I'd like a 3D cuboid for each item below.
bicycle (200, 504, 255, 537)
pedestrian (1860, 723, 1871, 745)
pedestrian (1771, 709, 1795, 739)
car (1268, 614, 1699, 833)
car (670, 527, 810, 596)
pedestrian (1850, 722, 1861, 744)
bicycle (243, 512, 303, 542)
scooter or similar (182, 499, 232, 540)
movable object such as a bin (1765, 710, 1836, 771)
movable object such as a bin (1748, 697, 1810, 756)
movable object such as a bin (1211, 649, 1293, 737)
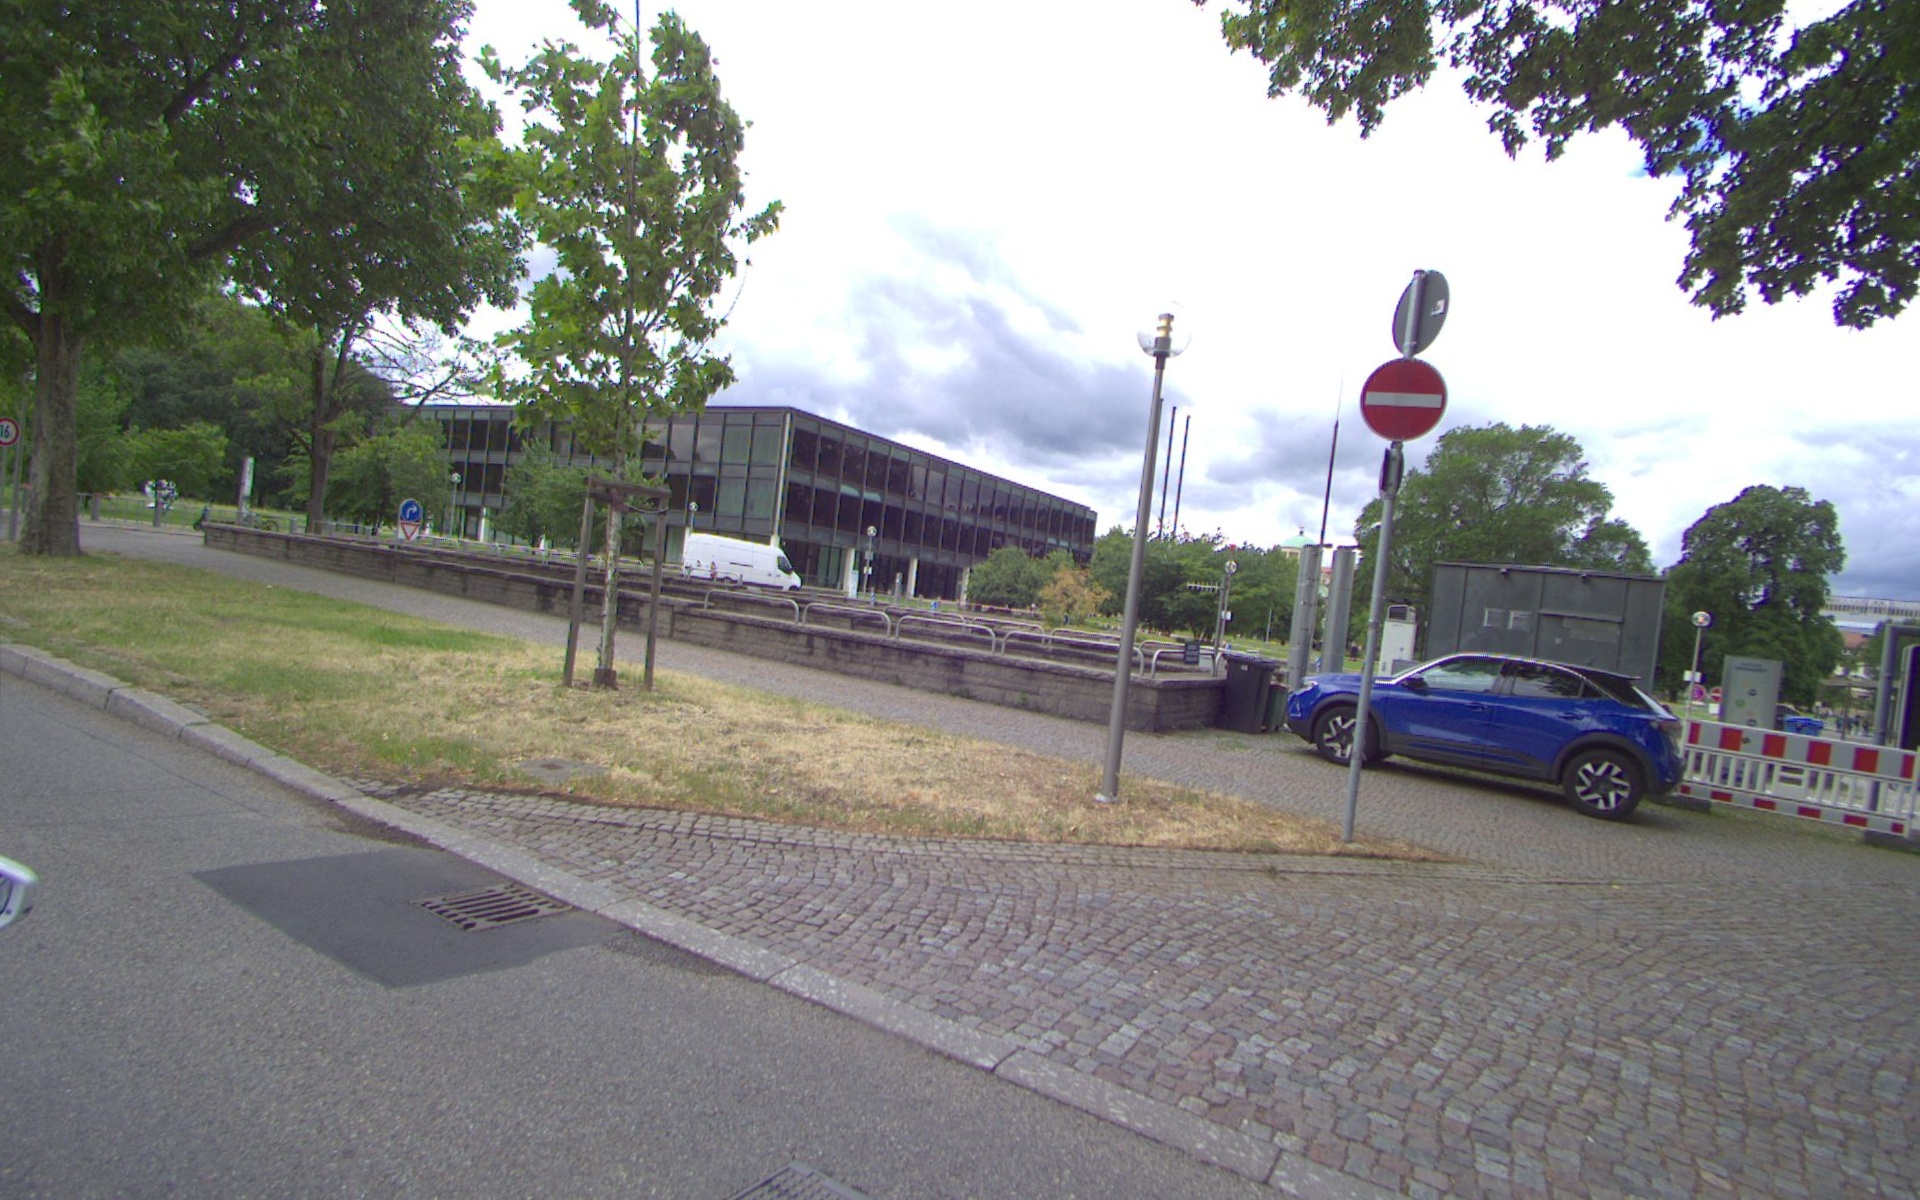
[{"bbox_3d":[-30.570,-3.319,41.979,2.297,1.076,0.956,6,-2,32],"label":"bicycle"},{"bbox_3d":[78.307,11.571,86.994,0.648,1.826,0.540,8,-1,-41],"label":"pedestrian"},{"bbox_3d":[54.235,8.189,66.330,0.929,1.826,0.546,7,-1,5],"label":"pedestrian"},{"bbox_3d":[5.888,1.279,11.580,3.961,1.572,1.761,10,2,35],"label":"car"},{"bbox_3d":[-9.837,-1.680,45.587,2.363,2.288,6.111,7,0,34],"label":"car"},{"bbox_3d":[78.312,11.610,87.984,0.648,1.826,0.540,8,-1,-41],"label":"pedestrian"},{"bbox_3d":[-28.813,-3.065,42.174,2.741,0.986,0.956,6,-2,32],"label":"bicycle"},{"bbox_3d":[-26.965,-2.893,36.014,2.190,1.259,0.636,6,-1,35],"label":"scooter or similar"},{"bbox_3d":[21.628,3.599,25.928,1.134,1.320,1.409,7,1,34],"label":"movable object such as a bin"},{"bbox_3d":[24.220,3.724,29.773,1.134,1.516,1.409,7,1,34],"label":"movable object such as a bin"},{"bbox_3d":[4.147,1.299,14.258,0.757,1.078,1.009,11,3,29],"label":"movable object such as a bin"}]
